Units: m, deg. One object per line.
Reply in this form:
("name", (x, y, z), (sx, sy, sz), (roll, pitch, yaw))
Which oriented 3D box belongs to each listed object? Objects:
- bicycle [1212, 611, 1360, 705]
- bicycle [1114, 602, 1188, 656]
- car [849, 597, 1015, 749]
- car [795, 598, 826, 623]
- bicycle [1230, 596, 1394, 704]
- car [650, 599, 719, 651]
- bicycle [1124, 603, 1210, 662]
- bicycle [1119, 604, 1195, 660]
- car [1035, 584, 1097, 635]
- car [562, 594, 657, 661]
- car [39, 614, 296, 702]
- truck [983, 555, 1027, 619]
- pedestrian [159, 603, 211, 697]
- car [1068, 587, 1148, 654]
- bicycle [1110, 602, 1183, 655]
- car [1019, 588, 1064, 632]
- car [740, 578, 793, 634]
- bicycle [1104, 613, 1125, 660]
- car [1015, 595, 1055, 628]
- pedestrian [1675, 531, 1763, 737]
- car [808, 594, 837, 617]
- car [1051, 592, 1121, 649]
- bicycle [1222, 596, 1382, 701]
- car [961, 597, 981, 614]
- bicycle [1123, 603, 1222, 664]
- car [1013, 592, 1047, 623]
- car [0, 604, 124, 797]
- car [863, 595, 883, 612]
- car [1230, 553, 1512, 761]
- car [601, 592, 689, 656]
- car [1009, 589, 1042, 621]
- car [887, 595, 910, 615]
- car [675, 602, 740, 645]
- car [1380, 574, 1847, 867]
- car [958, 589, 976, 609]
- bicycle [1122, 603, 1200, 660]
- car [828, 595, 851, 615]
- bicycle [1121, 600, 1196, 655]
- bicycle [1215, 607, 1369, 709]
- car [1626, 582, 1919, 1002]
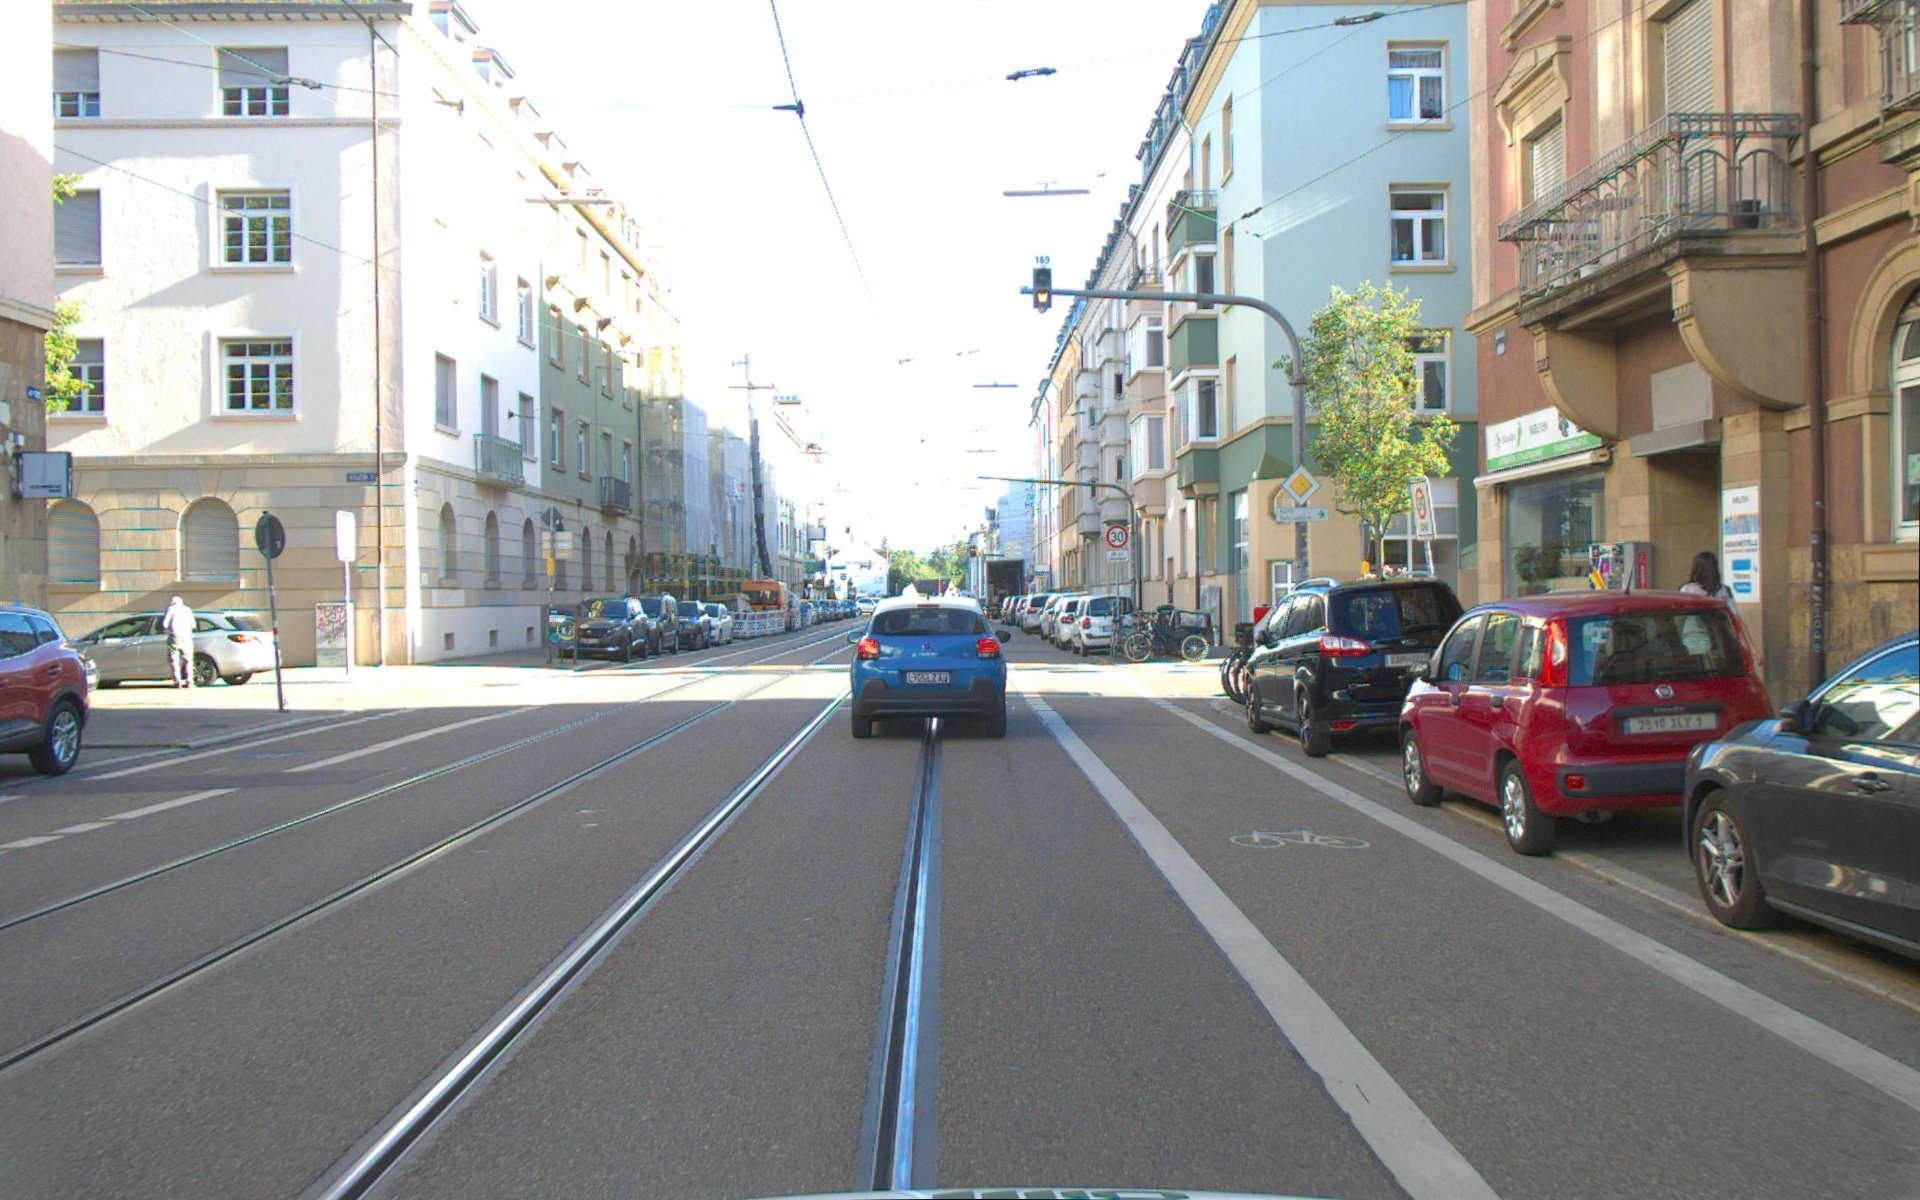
("bicycle", (4.470, 0.791, 22.748), (1.884, 1.181, 0.527), (-3, 0, 0))
("bicycle", (4.699, 0.705, 40.781), (1.688, 1.174, 0.469), (-5, 0, 0))
("car", (-0.299, 0.745, 18.990), (1.699, 1.534, 3.992), (0, 0, 0))
("car", (-10.170, 0.678, 112.409), (1.679, 1.621, 4.266), (-2, 0, 0))
("bicycle", (4.466, 0.626, 21.035), (1.919, 1.248, 0.527), (-3, 0, 0))
("car", (-9.309, 0.812, 56.207), (1.747, 1.655, 4.607), (0, 0, -3))
("bicycle", (4.710, 0.726, 37.695), (1.805, 1.174, 0.469), (-5, 0, 0))
("bicycle", (4.698, 0.755, 39.480), (1.688, 1.174, 0.469), (-5, 0, 0))
("car", (3.908, 0.330, 61.808), (1.622, 1.782, 4.598), (-2, 0, -5))
("car", (-9.421, 0.698, 44.797), (1.747, 1.720, 4.665), (0, 0, -3))
("car", (-15.554, 1.117, 32.624), (4.131, 1.490, 1.782), (-2, 2, -1))
("truck", (3.053, -0.883, 115.741), (2.794, 4.154, 11.271), (-2, 0, 1))
("pedestrian", (-14.668, 0.933, 31.330), (0.594, 1.742, 0.731), (-2, 0, -1))
("car", (3.936, 0.526, 44.586), (1.747, 1.660, 4.000), (-2, 0, 0))
("bicycle", (4.671, 0.704, 41.407), (1.688, 1.174, 0.469), (-5, 0, 0))
("car", (3.604, 0.437, 73.923), (1.695, 1.859, 4.686), (-2, 0, 0))
("car", (-9.251, 0.258, 79.418), (2.101, 2.518, 4.978), (-1, 0, -3))
("bicycle", (3.727, 0.865, 39.948), (0.345, 1.063, 1.728), (-2, 0, 1))
("car", (3.609, 0.543, 79.712), (1.687, 1.512, 4.221), (-2, 0, 0))
("pedestrian", (6.457, 0.284, 14.086), (0.502, 1.716, 0.448), (-2, 0, -1))
("car", (-10.449, 0.426, 126.066), (1.788, 1.660, 4.848), (-2, 0, 0))
("car", (3.781, 0.589, 50.401), (1.747, 1.603, 4.326), (-2, 0, 0))
("bicycle", (4.455, 0.626, 21.607), (1.919, 1.248, 0.527), (-3, 0, 0))
("car", (0.976, 0.492, 148.947), (1.729, 1.512, 4.031), (-2, 0, 0))
("bicycle", (4.737, 0.744, 37.016), (2.044, 1.174, 0.848), (-4, 0, 0))
("car", (3.757, 0.379, 89.183), (1.630, 1.546, 4.221), (-2, 0, 0))
("car", (-9.137, 0.873, 14.291), (1.747, 1.634, 4.395), (0, 0, -3))
("car", (-8.539, 0.342, 162.765), (1.788, 1.660, 4.045), (-2, 0, 0))
("car", (4.131, 0.511, 17.393), (1.718, 1.765, 4.506), (-5, 0, 0))
("car", (-9.489, 0.684, 50.095), (1.746, 1.848, 4.528), (0, 0, 0))
("car", (3.690, 0.269, 94.027), (1.630, 1.675, 4.221), (-2, 0, 0))
("car", (-5.437, 0.440, 147.015), (1.788, 1.660, 4.490), (-2, 0, 0))
("car", (-9.456, 0.866, 62.216), (1.682, 1.529, 4.388), (0, 0, 1))
("car", (4.196, 0.675, 11.281), (1.717, 1.622, 3.730), (-2, 0, 1))
("car", (0.897, -0.129, 208.114), (2.174, 2.324, 4.083), (-2, 0, 0))
("bicycle", (4.717, 0.731, 38.932), (1.688, 1.174, 0.469), (-5, 0, 0))
("car", (-10.651, 0.426, 146.137), (1.789, 1.660, 3.904), (-2, 0, -1))
("bicycle", (4.812, 0.673, 40.160), (1.688, 1.174, 0.469), (-5, 0, 0))
("bicycle", (4.438, 0.767, 22.168), (1.919, 1.248, 0.527), (-3, 0, 0))
("car", (4.372, 0.707, 6.540), (1.620, 1.539, 4.474), (-2, 0, 0))
